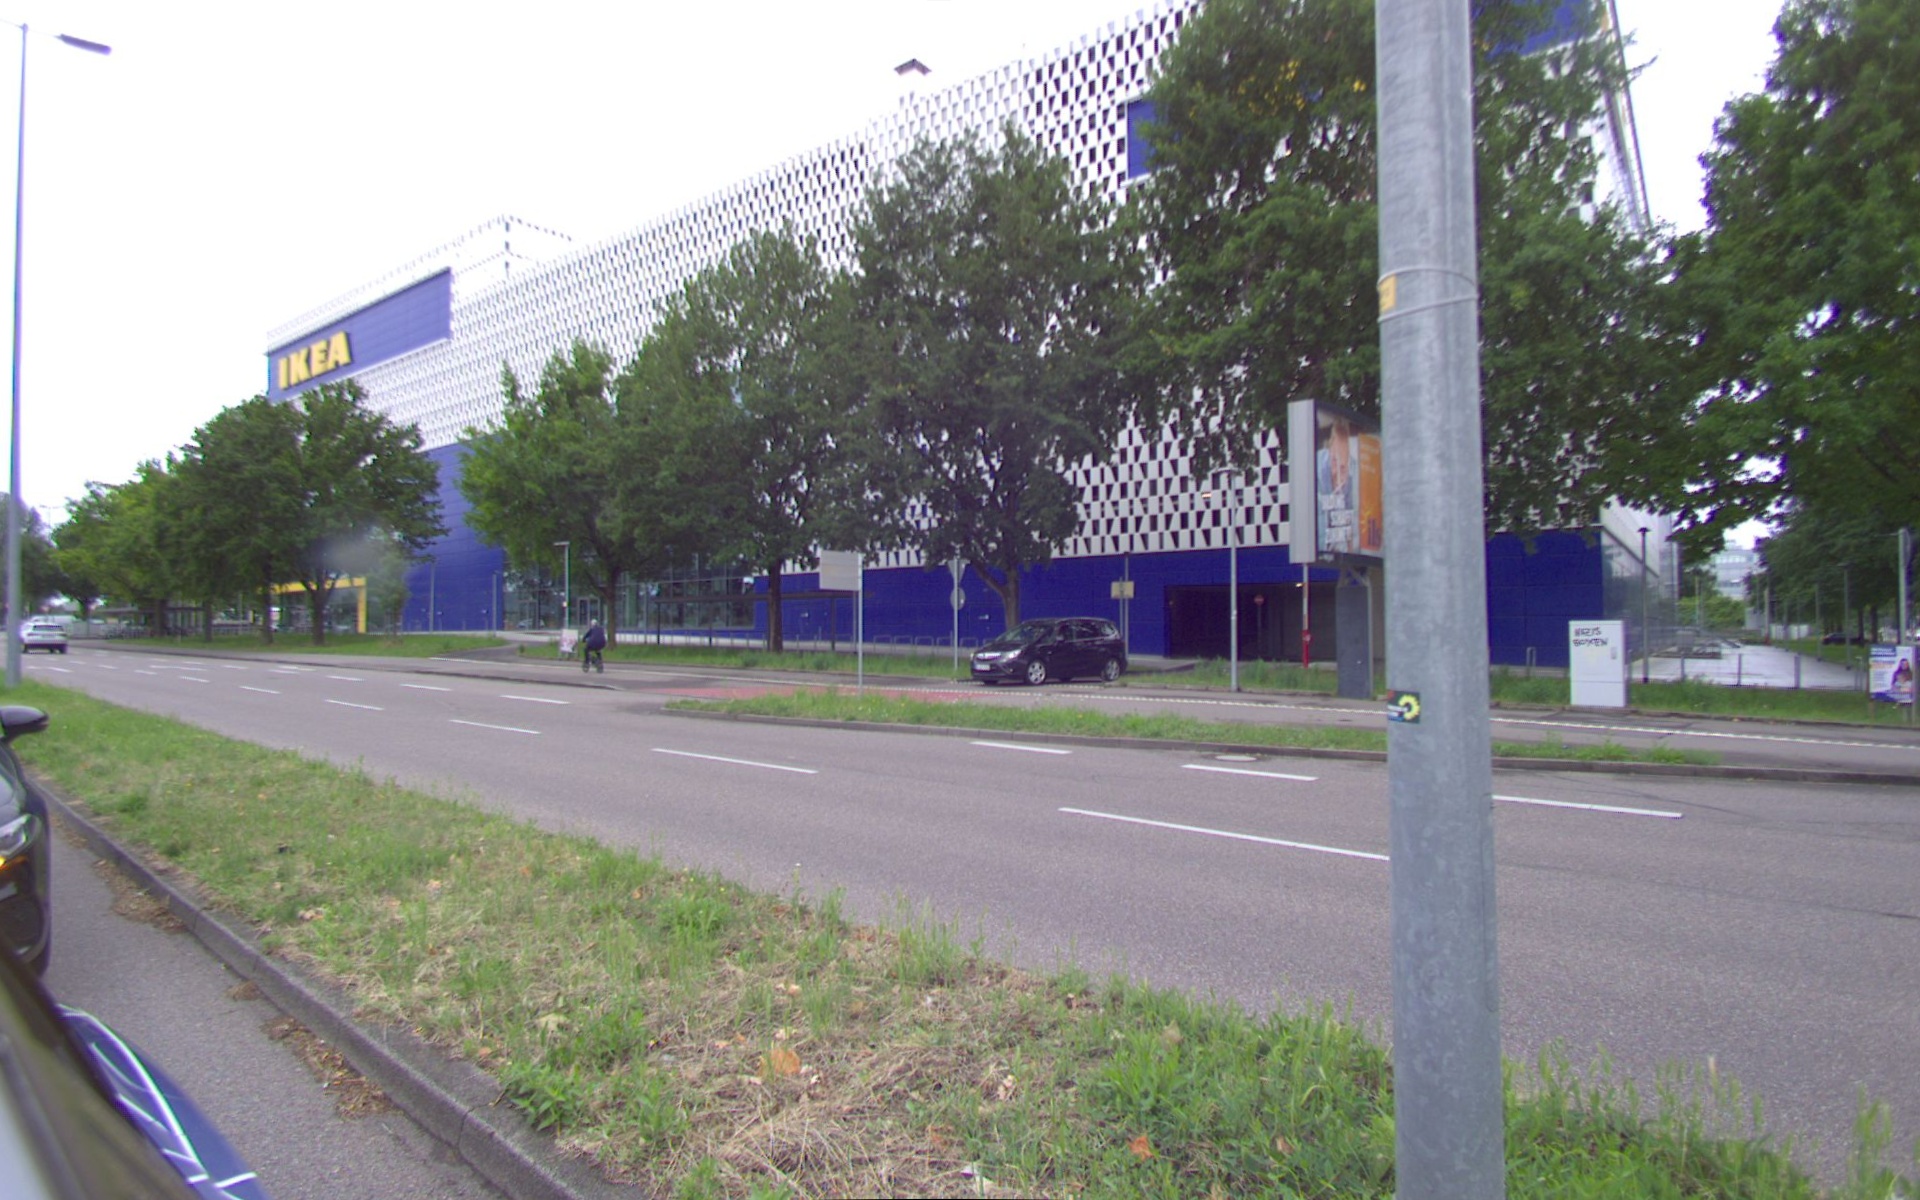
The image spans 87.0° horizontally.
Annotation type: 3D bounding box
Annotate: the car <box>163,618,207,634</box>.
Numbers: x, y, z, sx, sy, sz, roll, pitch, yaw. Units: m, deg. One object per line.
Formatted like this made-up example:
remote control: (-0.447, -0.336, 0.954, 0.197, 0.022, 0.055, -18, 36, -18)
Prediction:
car: (-86.324, 2.879, 112.741, 1.741, 1.652, 3.522, -1, 0, 37)

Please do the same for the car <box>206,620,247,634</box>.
car: (-97.619, 3.562, 134.775, 1.994, 1.829, 3.956, -1, 0, 33)

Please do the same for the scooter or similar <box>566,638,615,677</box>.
scooter or similar: (-11.489, 1.778, 31.461, 1.417, 1.134, 0.585, -1, 2, 24)

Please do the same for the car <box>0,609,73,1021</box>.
car: (-5.434, 0.828, 4.403, 4.194, 1.445, 1.835, -2, -1, 41)

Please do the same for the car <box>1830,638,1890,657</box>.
car: (85.899, 4.525, 96.651, 3.991, 1.630, 1.782, -1, 0, 35)

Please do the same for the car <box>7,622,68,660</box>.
car: (-49.244, 2.140, 53.998, 3.921, 1.900, 1.824, -1, 0, 39)

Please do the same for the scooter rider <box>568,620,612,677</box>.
scooter rider: (-11.508, 1.501, 31.479, 1.033, 1.733, 0.791, -1, -1, 24)

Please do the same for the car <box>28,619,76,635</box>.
car: (-122.820, 3.580, 136.922, 1.998, 2.029, 4.650, -1, 0, 38)

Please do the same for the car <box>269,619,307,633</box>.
car: (-93.489, 3.631, 140.730, 1.994, 1.829, 3.956, -1, 0, 33)

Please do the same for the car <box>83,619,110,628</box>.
car: (-158.357, 4.332, 185.653, 1.741, 1.652, 3.522, -1, 0, 37)

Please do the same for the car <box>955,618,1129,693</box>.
car: (2.086, 1.297, 25.038, 4.294, 1.668, 1.851, 0, -2, -42)
